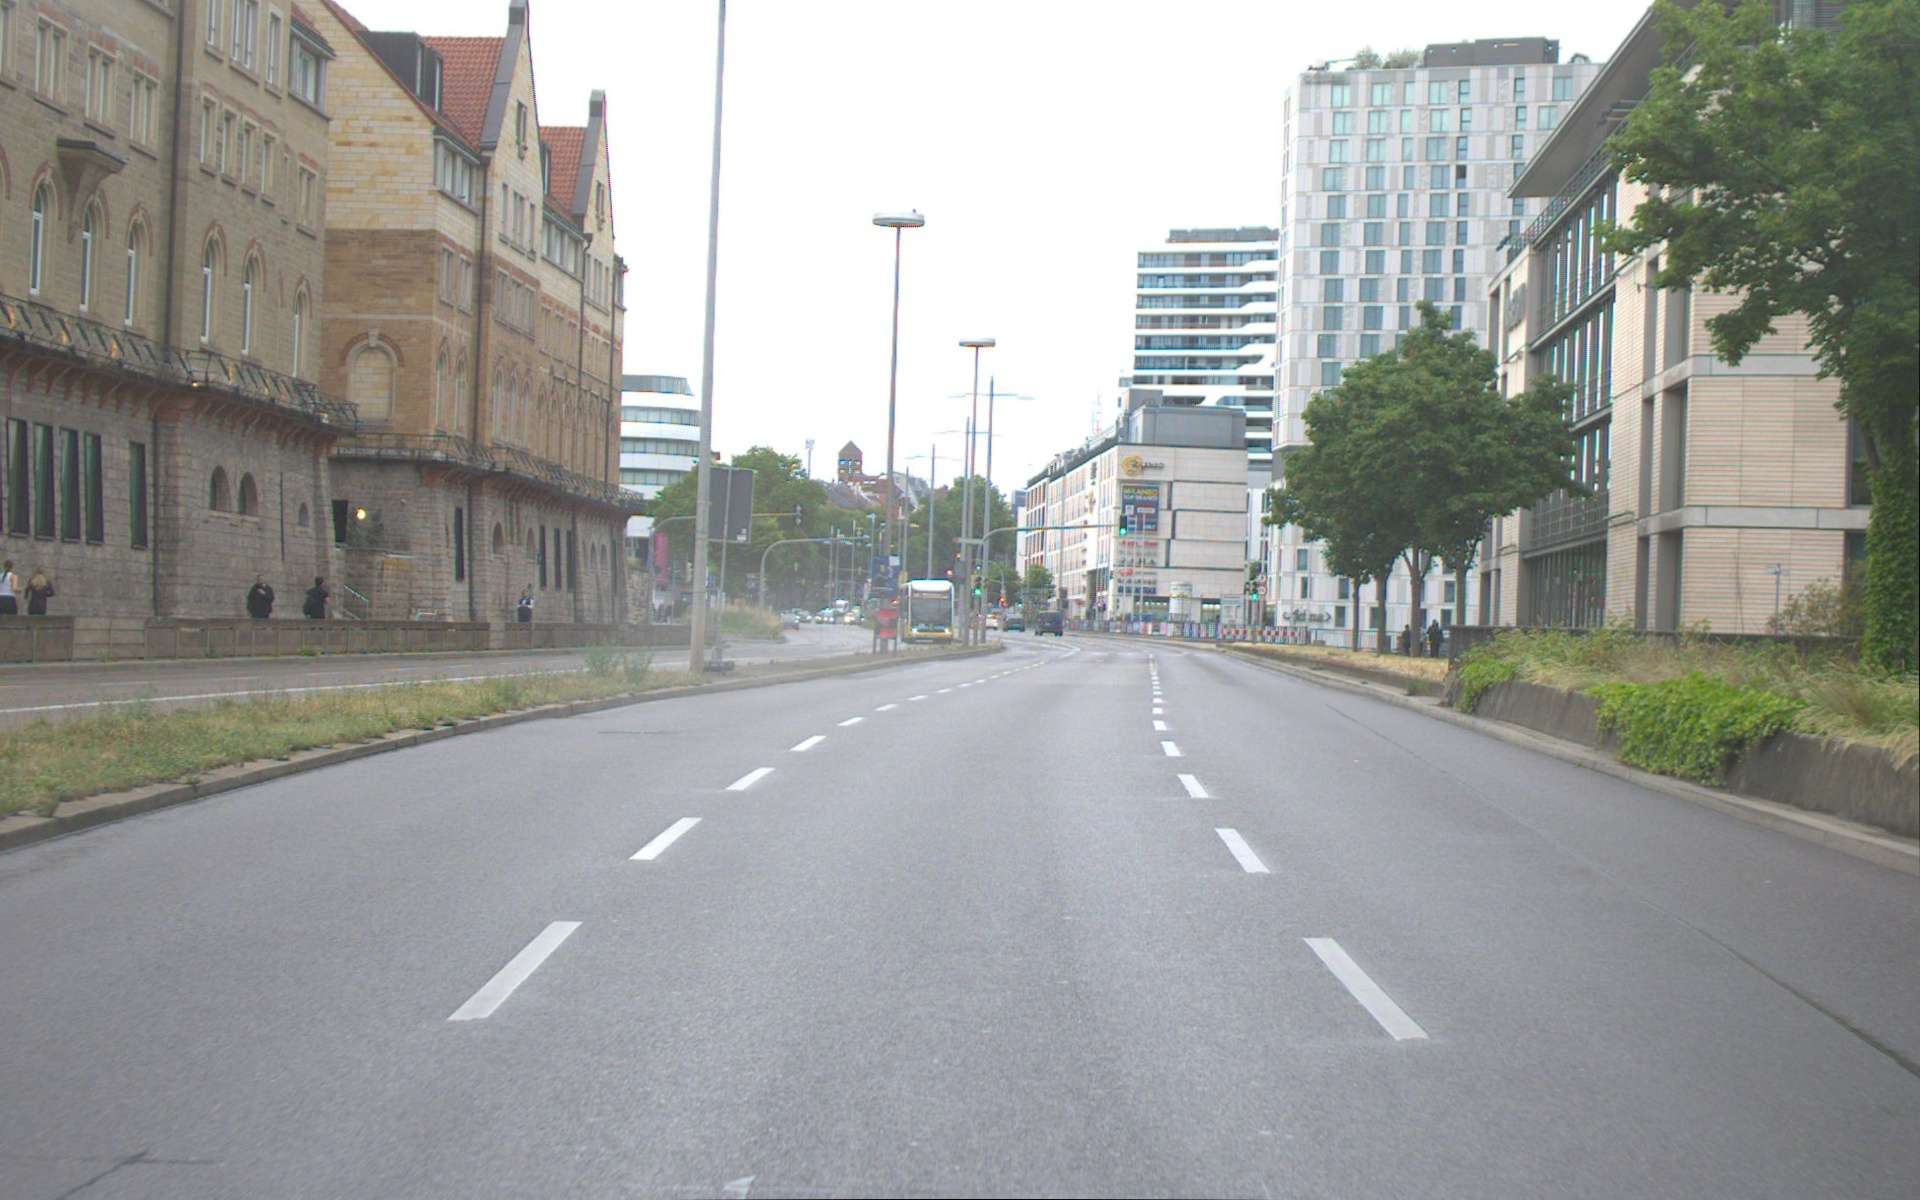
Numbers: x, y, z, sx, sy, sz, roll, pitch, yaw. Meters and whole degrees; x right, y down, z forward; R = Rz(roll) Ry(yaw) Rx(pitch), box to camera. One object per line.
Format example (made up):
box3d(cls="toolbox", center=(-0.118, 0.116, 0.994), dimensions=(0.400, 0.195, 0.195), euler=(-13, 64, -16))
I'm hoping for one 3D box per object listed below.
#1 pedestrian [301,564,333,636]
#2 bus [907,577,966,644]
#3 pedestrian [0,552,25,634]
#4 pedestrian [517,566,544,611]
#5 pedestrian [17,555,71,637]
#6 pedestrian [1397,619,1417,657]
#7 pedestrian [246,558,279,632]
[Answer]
box3d(cls="pedestrian", center=(-15.733, 0.001, 84.142), dimensions=(0.640, 1.740, 0.621), euler=(1, 1, 1))
box3d(cls="bus", center=(-1.275, 0.627, 189.941), dimensions=(2.698, 3.547, 10.092), euler=(1, -1, 3))
box3d(cls="pedestrian", center=(-17.438, -0.136, 62.301), dimensions=(0.754, 1.473, 0.714), euler=(1, 1, 3))
box3d(cls="pedestrian", center=(-14.483, -0.390, 115.927), dimensions=(0.754, 1.473, 0.714), euler=(1, 1, 3))
box3d(cls="pedestrian", center=(-16.584, -0.075, 62.252), dimensions=(0.754, 1.473, 0.714), euler=(1, 1, 3))
box3d(cls="pedestrian", center=(18.772, 1.591, 144.325), dimensions=(0.551, 1.572, 0.669), euler=(1, 1, 37))
box3d(cls="pedestrian", center=(-16.552, -0.129, 81.586), dimensions=(0.640, 1.740, 0.621), euler=(1, 1, 1))
